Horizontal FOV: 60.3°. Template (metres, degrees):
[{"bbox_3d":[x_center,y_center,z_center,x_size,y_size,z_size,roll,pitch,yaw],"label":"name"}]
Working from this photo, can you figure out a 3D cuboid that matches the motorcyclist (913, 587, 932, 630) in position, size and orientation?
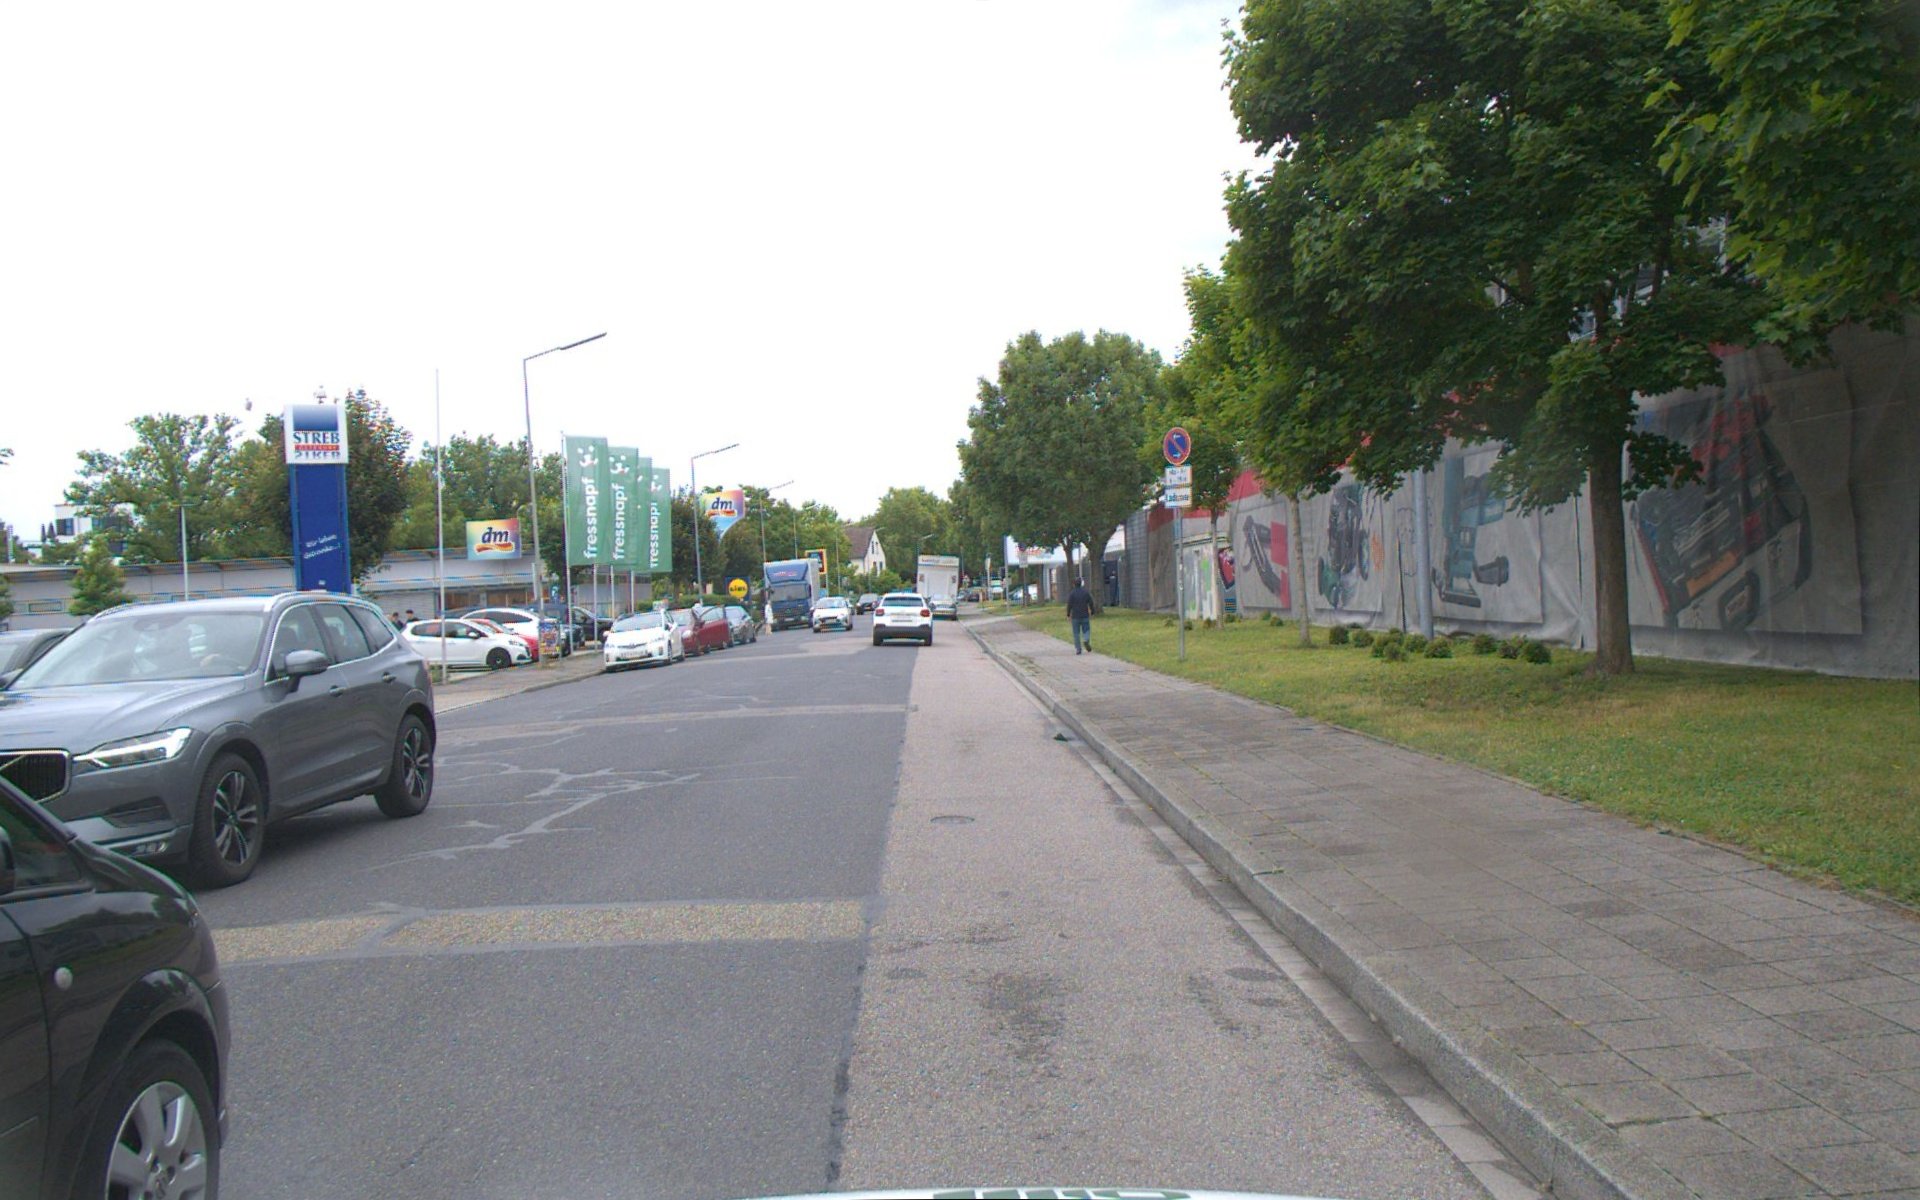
[{"bbox_3d":[-1.407,0.315,61.959,0.612,1.581,0.604,-3,0,1],"label":"motorcyclist"}]

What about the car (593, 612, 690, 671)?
[{"bbox_3d":[-8.608,1.093,44.961,1.859,1.391,3.999,-3,0,-1],"label":"car"}]

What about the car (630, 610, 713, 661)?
[{"bbox_3d":[-8.929,1.072,51.519,1.859,1.391,3.999,-3,0,-1],"label":"car"}]

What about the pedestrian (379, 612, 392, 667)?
[{"bbox_3d":[-18.597,1.275,53.561,0.258,1.760,0.421,-3,0,-13],"label":"pedestrian"}]

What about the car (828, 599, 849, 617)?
[{"bbox_3d":[-10.187,0.662,139.375,1.590,1.399,3.451,-2,0,-2],"label":"car"}]

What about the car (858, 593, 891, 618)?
[{"bbox_3d":[-5.316,0.325,102.963,1.899,1.390,3.999,-4,0,-2],"label":"car"}]

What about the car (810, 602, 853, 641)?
[{"bbox_3d":[-5.713,0.955,73.702,1.566,1.554,3.527,-5,0,-1],"label":"car"}]

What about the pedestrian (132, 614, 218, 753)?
[{"bbox_3d":[-10.257,1.071,21.623,0.760,1.745,0.696,-2,0,-5],"label":"pedestrian"}]

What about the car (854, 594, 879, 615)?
[{"bbox_3d":[-7.696,0.376,136.653,1.953,1.713,3.998,-2,0,-2],"label":"car"}]

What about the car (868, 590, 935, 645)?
[{"bbox_3d":[-1.725,0.504,49.896,1.848,1.558,4.253,-1,0,0],"label":"car"}]

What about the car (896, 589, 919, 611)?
[{"bbox_3d":[-4.542,0.005,142.984,1.833,1.690,3.998,-4,0,-3],"label":"car"}]

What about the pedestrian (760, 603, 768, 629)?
[{"bbox_3d":[-12.139,1.001,102.324,0.394,1.558,0.484,-3,0,-7],"label":"pedestrian"}]

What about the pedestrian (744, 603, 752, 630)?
[{"bbox_3d":[-12.282,0.951,95.916,0.394,1.558,0.484,-3,0,-7],"label":"pedestrian"}]

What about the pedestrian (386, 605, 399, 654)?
[{"bbox_3d":[-18.667,0.966,54.426,0.324,1.597,0.502,-2,0,-16],"label":"pedestrian"}]

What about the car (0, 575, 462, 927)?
[{"bbox_3d":[-4.911,0.788,10.611,1.894,1.713,4.496,-4,0,1],"label":"car"}]

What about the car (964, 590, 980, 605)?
[{"bbox_3d":[1.476,-0.292,200.095,1.848,1.713,4.253,-1,0,0],"label":"car"}]

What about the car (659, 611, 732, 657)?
[{"bbox_3d":[-9.064,1.151,57.009,1.859,1.391,3.999,-3,0,-1],"label":"car"}]

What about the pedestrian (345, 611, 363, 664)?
[{"bbox_3d":[-19.703,1.220,53.802,0.448,1.670,0.372,-3,0,-19],"label":"pedestrian"}]

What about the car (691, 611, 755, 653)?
[{"bbox_3d":[-8.995,1.183,62.983,1.859,1.391,3.999,-3,0,-1],"label":"car"}]

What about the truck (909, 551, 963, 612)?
[{"bbox_3d":[-1.616,-1.090,105.049,3.072,3.647,10.045,-2,0,-2],"label":"truck"}]

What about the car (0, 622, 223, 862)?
[{"bbox_3d":[-7.469,1.095,12.355,1.909,1.552,4.401,-7,0,-2],"label":"car"}]

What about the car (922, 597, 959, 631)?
[{"bbox_3d":[-1.158,0.817,95.995,1.953,1.837,3.998,-2,0,-2],"label":"car"}]

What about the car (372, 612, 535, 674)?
[{"bbox_3d":[-14.365,1.194,47.114,4.126,1.488,1.949,-3,0,-9],"label":"car"}]

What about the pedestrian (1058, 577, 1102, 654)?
[{"bbox_3d":[2.667,0.339,36.873,0.900,1.663,0.853,-2,-1,1],"label":"pedestrian"}]

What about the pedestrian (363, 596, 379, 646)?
[{"bbox_3d":[-19.145,0.683,53.765,0.353,1.597,0.502,-3,0,-15],"label":"pedestrian"}]

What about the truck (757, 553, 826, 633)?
[{"bbox_3d":[-9.165,-0.386,90.537,2.914,4.024,6.404,-4,0,-1],"label":"truck"}]

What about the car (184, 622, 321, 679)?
[{"bbox_3d":[-24.841,1.758,58.150,3.906,1.698,1.876,-3,0,-1],"label":"car"}]

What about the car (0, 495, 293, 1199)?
[{"bbox_3d":[-2.365,0.704,1.939,1.647,1.660,3.758,-3,0,-2],"label":"car"}]

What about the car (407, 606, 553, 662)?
[{"bbox_3d":[-15.020,1.048,51.958,4.057,1.488,1.896,-3,0,-7],"label":"car"}]
